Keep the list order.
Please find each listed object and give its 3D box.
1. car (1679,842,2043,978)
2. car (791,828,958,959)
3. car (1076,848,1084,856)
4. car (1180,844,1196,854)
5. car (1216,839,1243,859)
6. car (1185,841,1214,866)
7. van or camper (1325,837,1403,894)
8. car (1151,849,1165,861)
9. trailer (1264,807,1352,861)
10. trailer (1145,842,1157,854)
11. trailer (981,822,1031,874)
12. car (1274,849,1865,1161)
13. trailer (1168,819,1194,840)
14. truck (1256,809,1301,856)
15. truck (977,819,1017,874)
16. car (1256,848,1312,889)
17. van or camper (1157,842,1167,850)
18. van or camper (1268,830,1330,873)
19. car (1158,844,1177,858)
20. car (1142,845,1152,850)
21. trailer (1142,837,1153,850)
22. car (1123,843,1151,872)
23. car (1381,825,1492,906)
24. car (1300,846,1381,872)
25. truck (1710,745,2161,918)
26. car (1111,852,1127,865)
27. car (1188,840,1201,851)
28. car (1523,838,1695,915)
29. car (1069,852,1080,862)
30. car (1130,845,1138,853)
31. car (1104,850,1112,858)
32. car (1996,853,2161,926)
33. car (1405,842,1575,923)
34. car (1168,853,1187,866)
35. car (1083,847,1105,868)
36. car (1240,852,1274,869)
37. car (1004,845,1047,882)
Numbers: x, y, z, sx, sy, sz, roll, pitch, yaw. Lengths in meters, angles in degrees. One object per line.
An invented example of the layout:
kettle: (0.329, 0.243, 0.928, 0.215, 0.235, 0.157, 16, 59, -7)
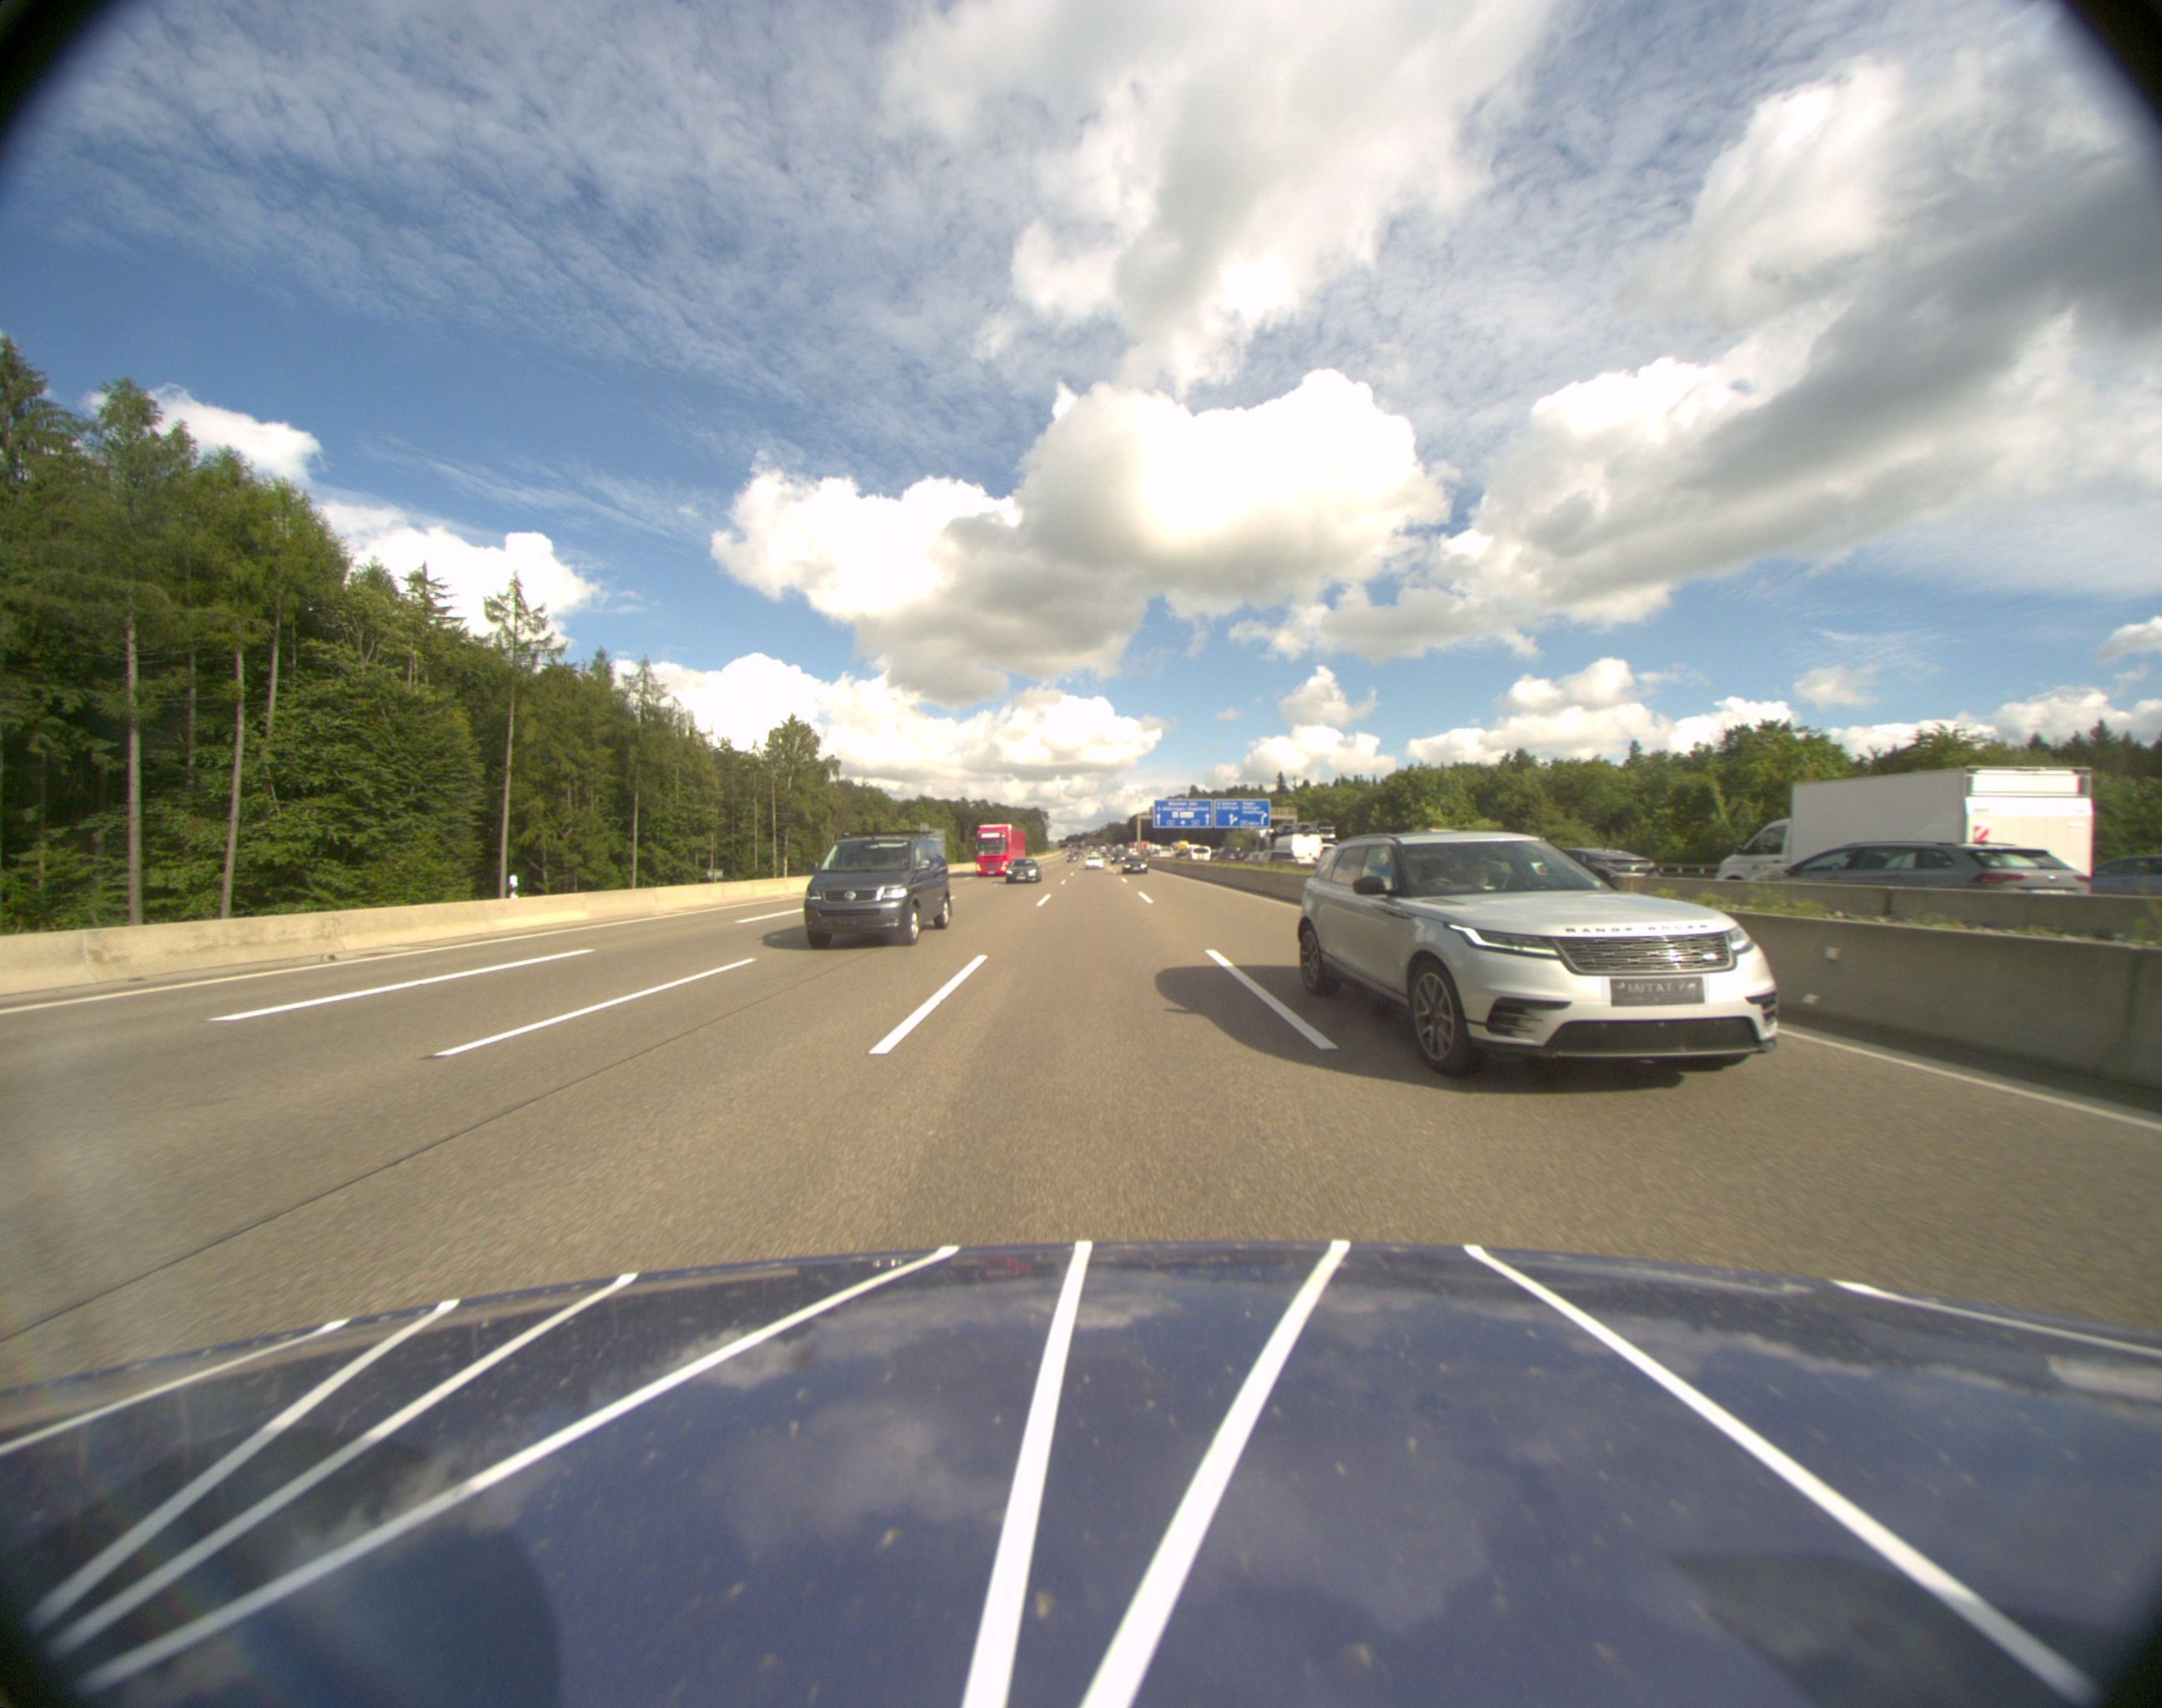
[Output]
car: (13.960, 0.834, 14.139, 1.998, 2.002, 4.655, -2, 2, 0)
car: (-3.860, 0.651, 15.181, 1.927, 2.153, 4.960, -1, 0, 0)
car: (-0.277, -0.562, 181.995, 1.804, 1.865, 3.950, -1, 1, 1)
car: (16.629, -0.821, 118.082, 1.792, 1.441, 5.375, -2, 1, 1)
car: (14.787, -0.508, 75.813, 1.915, 1.865, 4.697, -1, 1, 2)
car: (11.021, -0.078, 70.994, 1.998, 2.088, 5.277, -2, 2, 2)
van or camper: (14.822, 0.517, 40.143, 2.050, 2.696, 5.749, -2, 2, 2)
car: (12.036, 0.150, 119.331, 1.804, 1.865, 3.950, -3, 1, 1)
trailer: (18.964, -1.688, 64.977, 2.837, 3.952, 16.001, -2, 2, 1)
trailer: (21.996, -1.962, 238.961, 2.895, 3.637, 10.218, -1, 1, 0)
trailer: (-6.490, -0.587, 68.308, 2.531, 4.096, 14.376, -2, 1, 2)
car: (3.235, 0.789, 6.578, 1.904, 1.597, 5.105, -2, 1, 1)
trailer: (19.817, -4.829, 151.470, 3.420, 3.806, 13.259, -2, 1, 1)
truck: (19.095, -2.033, 73.882, 2.860, 4.210, 5.712, -2, 1, 1)
truck: (-6.697, -0.589, 60.975, 2.532, 4.179, 4.652, -2, 1, 1)
car: (10.976, 0.733, 41.388, 1.998, 2.002, 4.409, -1, 2, 2)
van or camper: (21.234, -2.118, 198.852, 2.289, 2.000, 4.688, -2, 1, 3)
van or camper: (14.730, -0.232, 51.810, 2.397, 2.696, 6.630, -2, 2, 1)
car: (11.644, -0.410, 102.475, 2.091, 1.791, 4.179, -3, 0, 1)
car: (12.907, -1.274, 148.917, 1.671, 0.922, 5.462, -2, 1, 1)
trailer: (22.838, -3.628, 261.741, 2.645, 4.295, 13.174, -2, 2, 1)
car: (4.217, 0.246, 58.001, 1.919, 2.002, 4.001, -3, 0, 2)
car: (14.545, 0.415, 31.472, 1.998, 2.946, 5.402, -3, 0, 1)
car: (10.122, 0.175, 30.024, 1.639, 0.853, 4.605, -3, 0, 1)
truck: (18.042, -0.431, 16.413, 2.334, 2.785, 7.949, -3, 0, 1)
car: (5.101, 0.600, 103.136, 1.911, 1.582, 4.287, -2, 2, 1)
car: (20.350, -1.498, 136.736, 1.804, 1.865, 3.950, -1, 1, 1)
car: (14.097, 0.509, 20.626, 1.691, 1.805, 4.294, -2, 2, 0)
car: (-1.259, 0.495, 138.929, 1.911, 1.582, 4.286, -2, 2, -1)
car: (13.196, -1.312, 188.906, 1.836, 2.050, 5.500, 0, 1, 1)
car: (6.477, 0.072, 183.287, 1.804, 1.783, 3.758, -1, 1, 1)
car: (25.008, 0.795, 17.898, 1.844, 1.486, 4.205, -2, 2, 0)
car: (10.190, 0.640, 19.378, 1.998, 1.733, 4.295, -3, 0, 1)
car: (10.596, 0.563, 83.999, 1.699, 1.364, 4.000, -1, 0, 2)
car: (1.353, 0.335, 76.181, 1.998, 2.002, 4.000, -3, 0, 2)
car: (14.838, 0.531, 64.384, 1.836, 1.223, 4.566, -2, 1, 1)
car: (-3.188, 0.526, 44.480, 1.998, 2.002, 4.000, -2, 1, 2)
